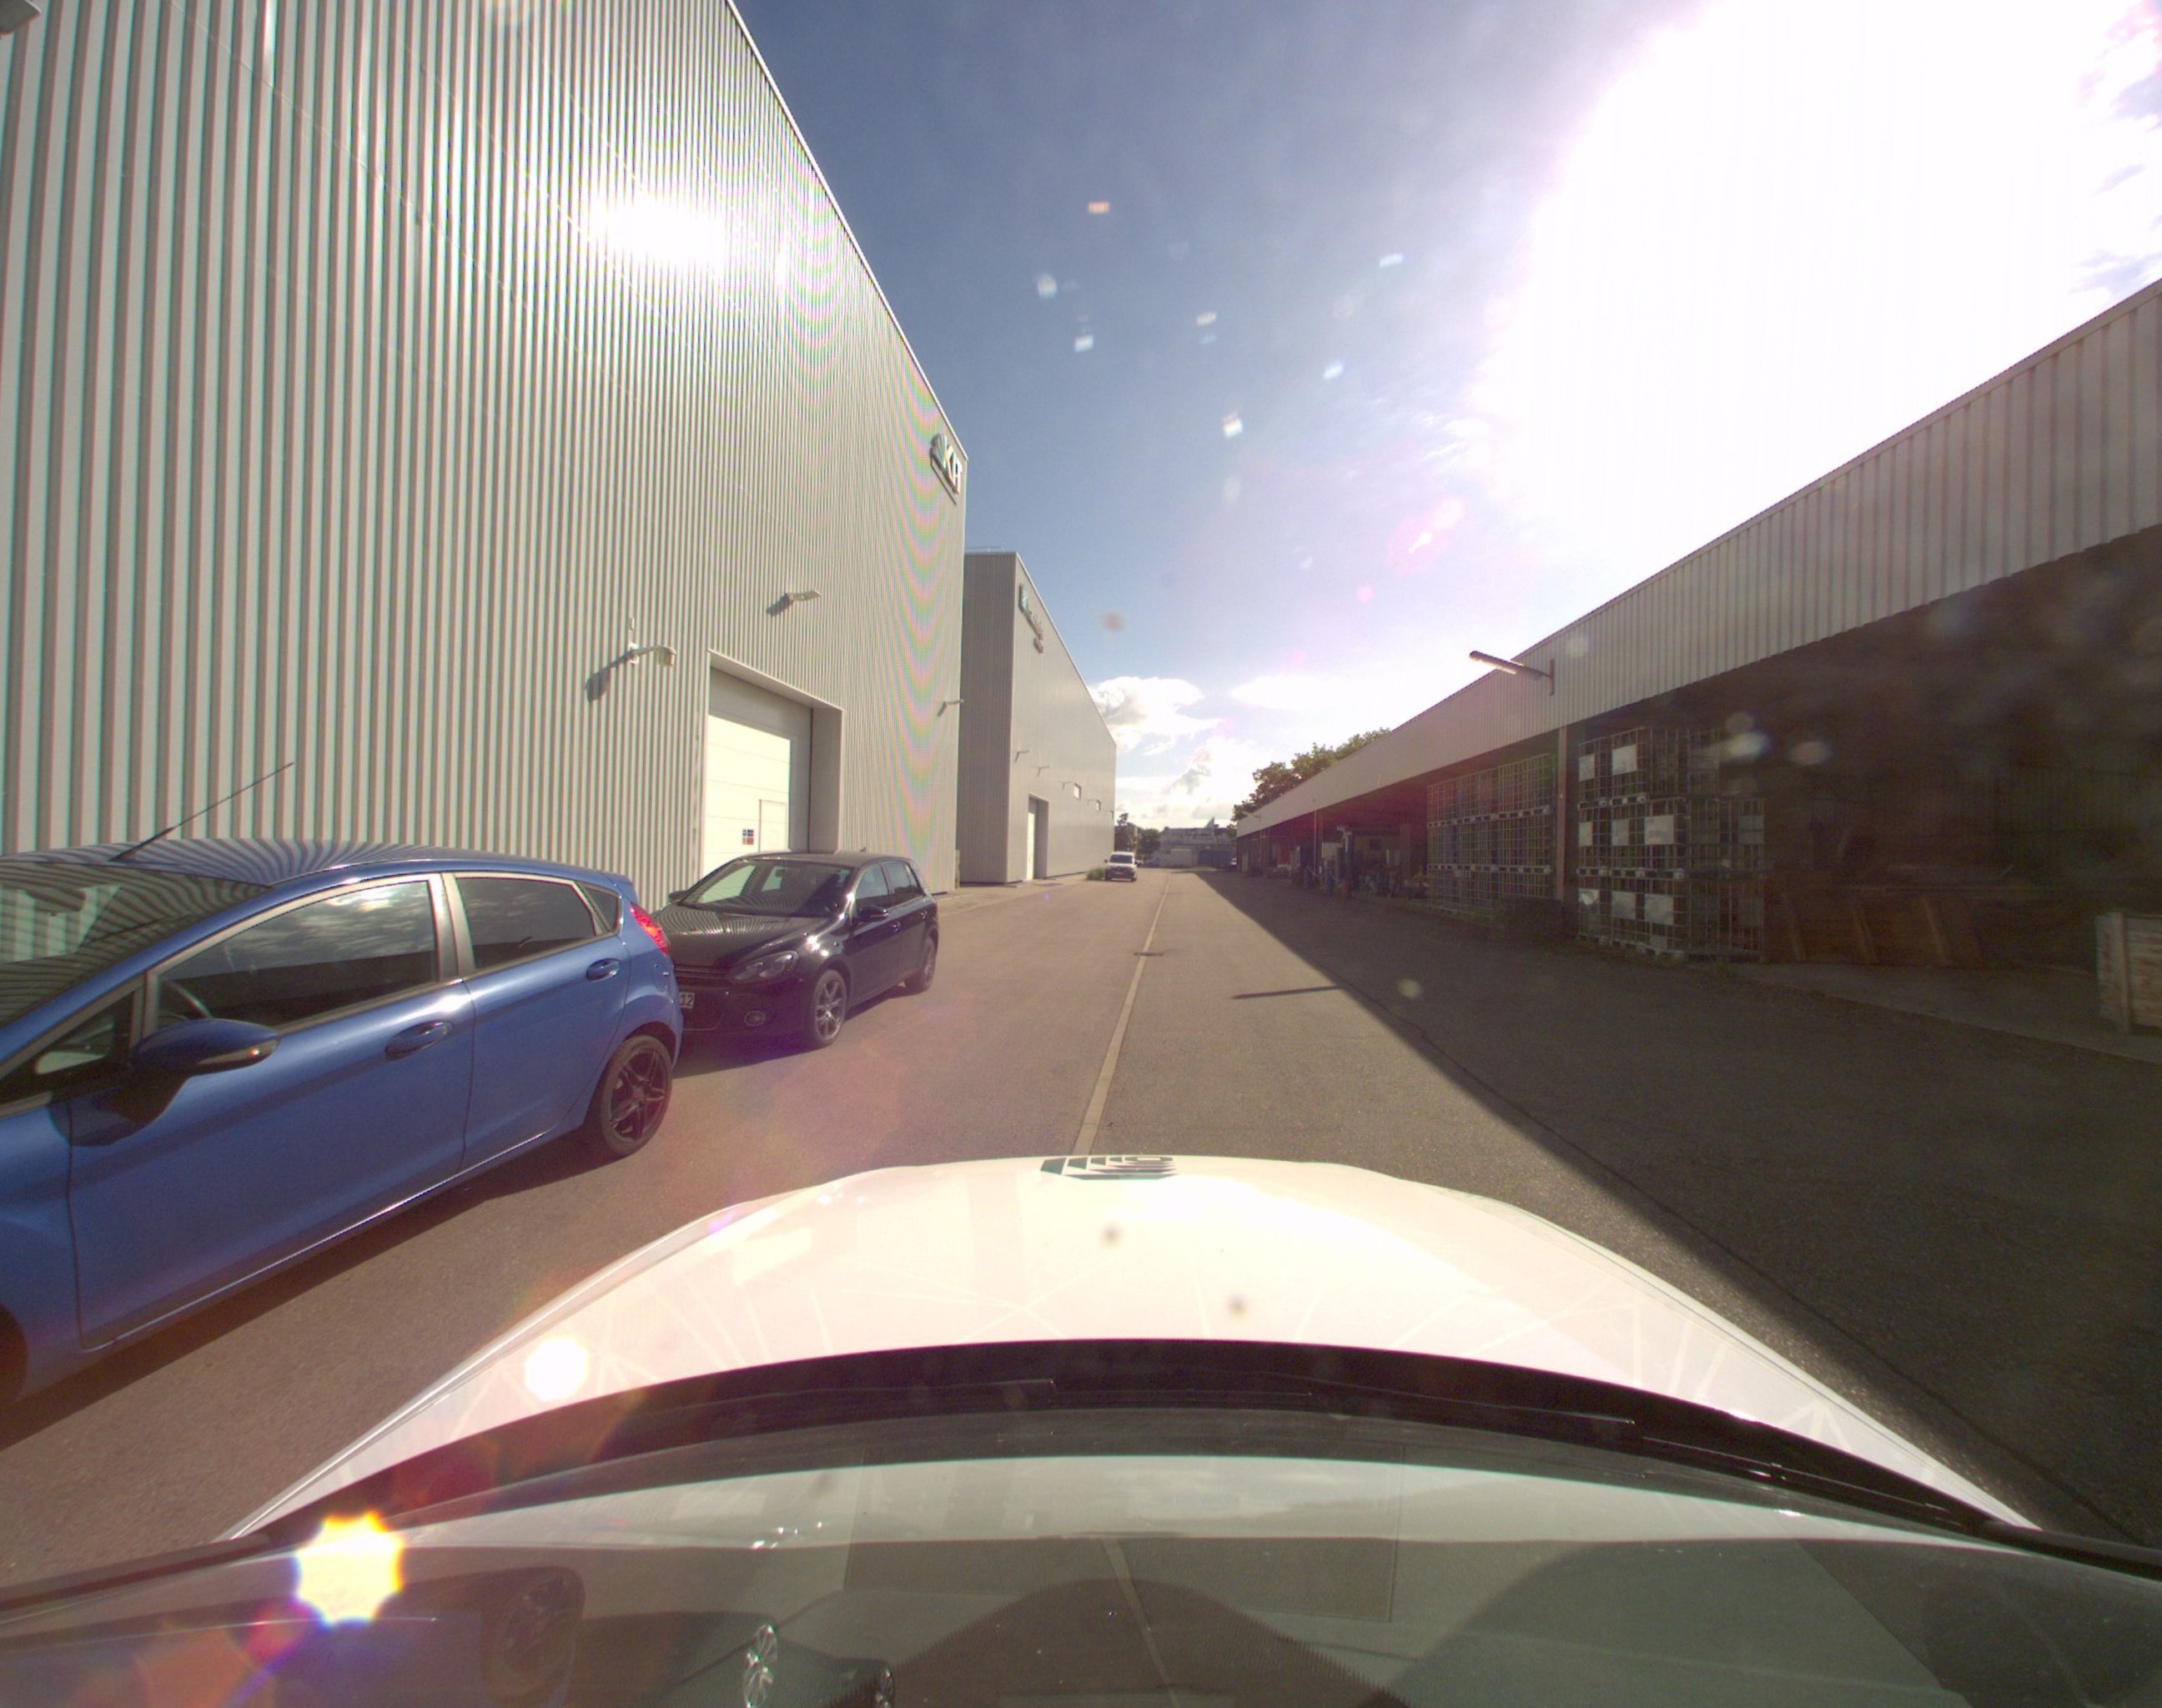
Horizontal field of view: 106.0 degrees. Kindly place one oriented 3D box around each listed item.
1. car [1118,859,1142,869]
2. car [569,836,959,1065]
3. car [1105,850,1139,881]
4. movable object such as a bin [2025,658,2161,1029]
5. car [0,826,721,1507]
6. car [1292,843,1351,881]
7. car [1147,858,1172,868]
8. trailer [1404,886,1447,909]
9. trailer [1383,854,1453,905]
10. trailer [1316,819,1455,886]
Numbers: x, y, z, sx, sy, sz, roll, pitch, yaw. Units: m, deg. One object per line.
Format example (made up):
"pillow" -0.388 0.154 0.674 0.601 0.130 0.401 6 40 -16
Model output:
"car" 7.982 1.588 132.124 3.866 1.462 1.625 2 -1 5
"car" -2.520 0.683 7.613 1.642 1.446 3.885 5 0 7
"car" 2.563 0.692 50.183 1.899 1.794 4.005 1 0 5
"movable object such as a bin" 11.850 -0.056 5.707 6.900 2.905 2.690 1 -1 6
"car" -3.028 0.661 2.744 1.612 1.447 3.770 3 0 5
"car" 15.932 0.526 54.158 3.486 2.441 2.004 1 -1 7
"car" 12.677 1.493 130.726 3.862 1.462 1.627 2 -1 8
"trailer" 10.231 1.284 24.225 0.967 0.567 0.733 3 1 2
"trailer" 11.287 0.823 27.368 1.539 1.518 1.914 3 1 2
"trailer" 15.938 -0.096 42.946 6.357 3.370 2.829 1 -1 5
